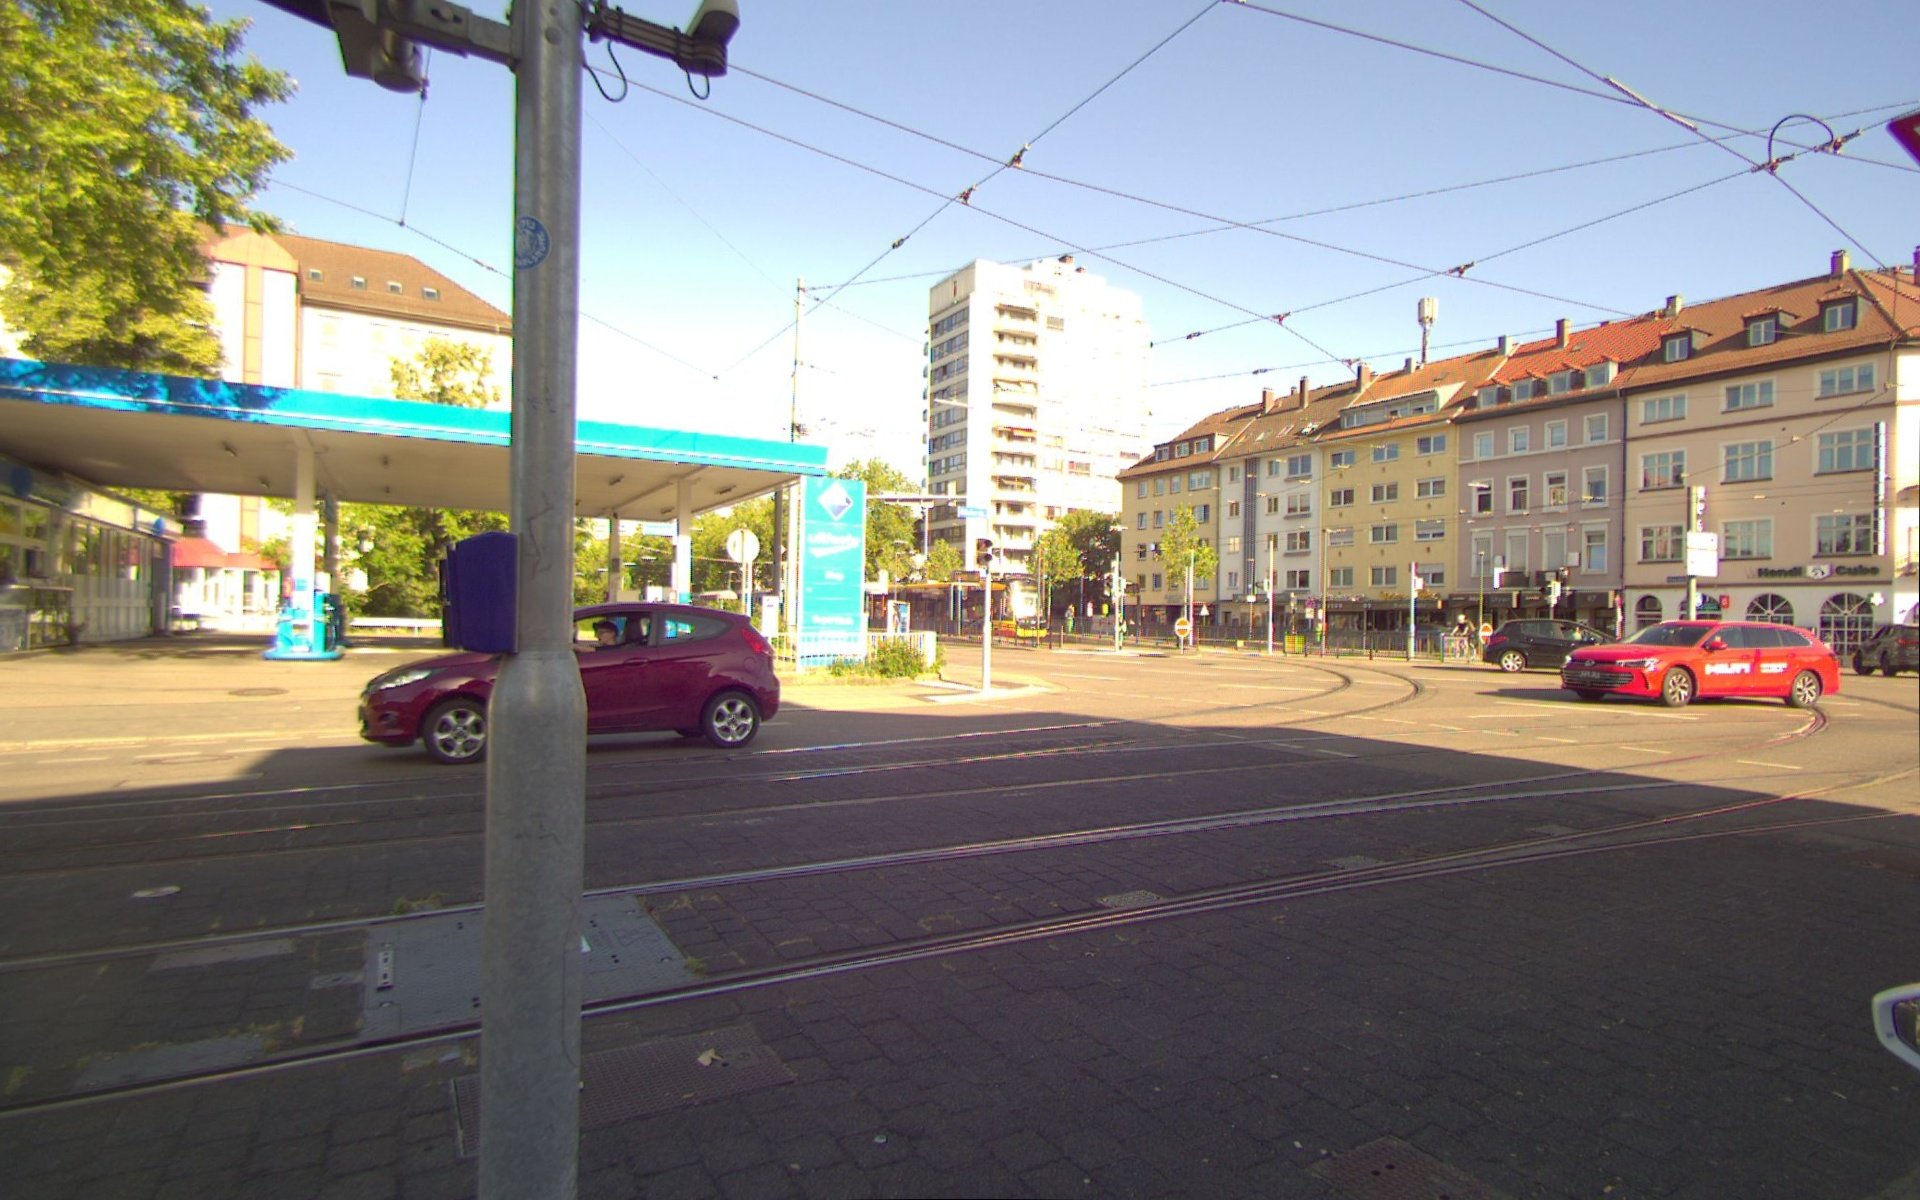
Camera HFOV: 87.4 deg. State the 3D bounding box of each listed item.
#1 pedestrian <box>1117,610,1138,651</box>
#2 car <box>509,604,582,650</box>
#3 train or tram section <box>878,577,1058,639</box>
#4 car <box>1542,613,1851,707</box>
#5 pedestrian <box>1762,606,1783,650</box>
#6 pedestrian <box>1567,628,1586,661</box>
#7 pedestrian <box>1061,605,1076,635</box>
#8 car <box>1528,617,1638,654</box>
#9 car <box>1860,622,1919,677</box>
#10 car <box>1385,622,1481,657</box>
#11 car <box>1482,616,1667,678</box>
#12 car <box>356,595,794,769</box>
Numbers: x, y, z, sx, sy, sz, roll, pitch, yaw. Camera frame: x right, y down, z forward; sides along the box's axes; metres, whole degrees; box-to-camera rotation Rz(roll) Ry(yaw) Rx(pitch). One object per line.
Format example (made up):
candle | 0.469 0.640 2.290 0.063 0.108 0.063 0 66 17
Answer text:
pedestrian | 6.860 1.247 41.093 0.750 1.631 0.613 2 0 15
car | -13.513 0.852 32.642 1.659 1.372 3.559 2 0 -31
train or tram section | -0.136 0.338 59.487 2.821 3.179 16.611 2 0 -29
car | 12.969 0.992 17.745 4.792 1.489 1.798 0 0 -15
pedestrian | 35.237 1.214 43.564 0.670 1.847 0.523 2 0 -37
pedestrian | 32.245 2.318 52.538 0.609 1.670 0.581 2 0 -30
pedestrian | 7.795 1.444 72.206 0.729 2.127 0.880 2 0 -21
car | 27.942 1.554 45.145 1.766 1.524 3.895 -1 0 -25
car | 30.017 1.538 31.642 1.843 1.623 4.442 0 -2 34
car | 23.732 1.949 50.544 1.808 1.596 4.169 1 0 -28
car | 16.560 1.216 27.232 4.137 1.537 1.995 0 -1 33
car | -3.737 0.732 10.008 3.836 1.445 1.583 1 -2 -30
